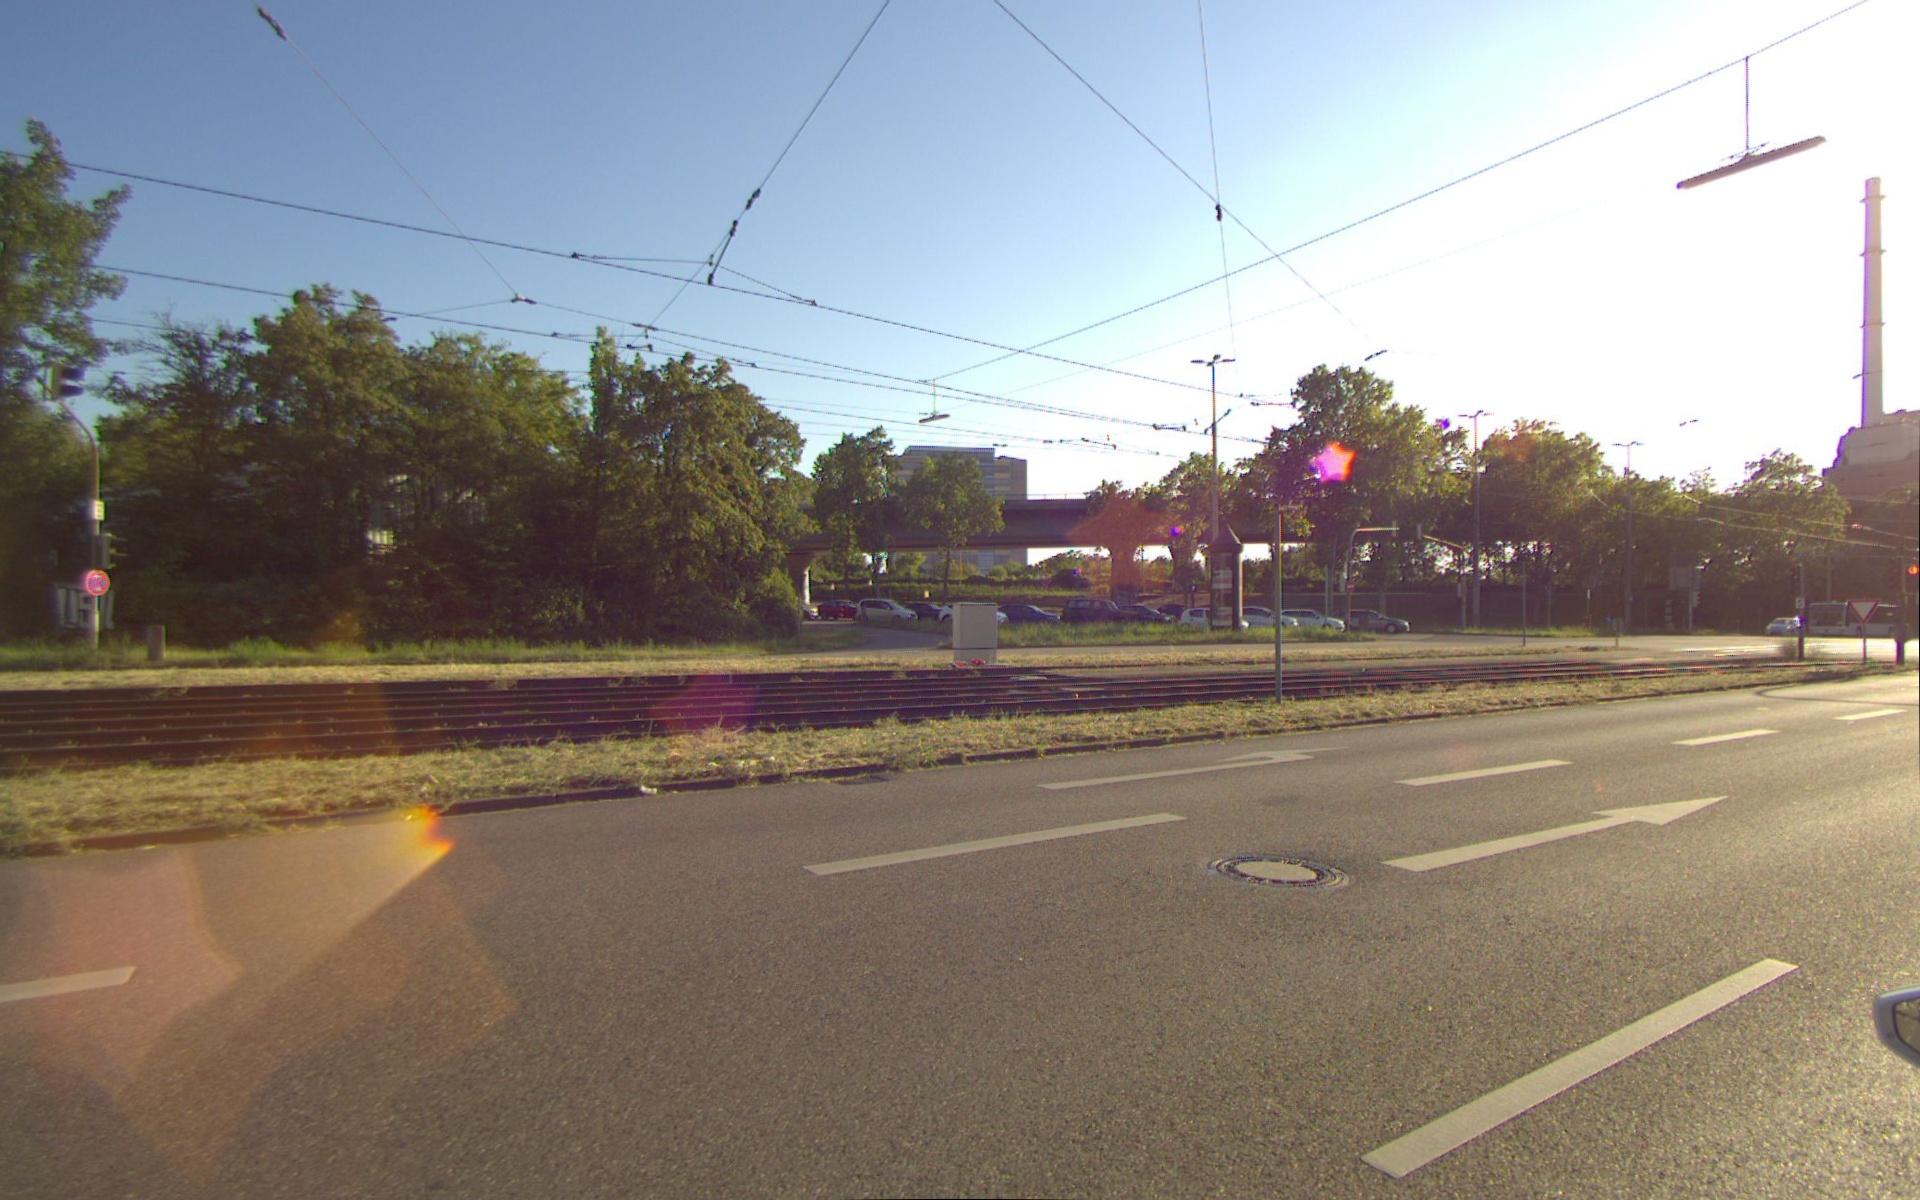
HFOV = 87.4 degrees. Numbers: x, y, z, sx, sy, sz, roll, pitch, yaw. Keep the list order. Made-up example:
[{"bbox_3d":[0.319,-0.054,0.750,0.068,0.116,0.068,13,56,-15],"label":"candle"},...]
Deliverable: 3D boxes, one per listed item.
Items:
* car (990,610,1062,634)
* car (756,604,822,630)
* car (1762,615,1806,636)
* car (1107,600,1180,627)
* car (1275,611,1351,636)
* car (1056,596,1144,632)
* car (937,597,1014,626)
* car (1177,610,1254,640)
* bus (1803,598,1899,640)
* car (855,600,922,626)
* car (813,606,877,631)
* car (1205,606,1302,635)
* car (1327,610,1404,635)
[{"bbox_3d":[4.413,1.453,67.211,4.539,1.478,1.692,1,0,27],"label":"car"},{"bbox_3d":[-12.091,1.193,70.961,4.326,1.701,1.694,1,0,18],"label":"car"},{"bbox_3d":[63.762,1.941,77.712,3.968,1.532,1.596,1,0,-36],"label":"car"},{"bbox_3d":[11.477,0.825,62.990,4.173,1.596,1.690,1,0,30],"label":"car"},{"bbox_3d":[21.497,1.419,61.240,4.121,1.423,1.667,1,0,30],"label":"car"},{"bbox_3d":[8.409,0.831,60.376,4.852,2.017,2.035,1,0,26],"label":"car"},{"bbox_3d":[0.968,0.723,64.612,4.680,1.596,1.691,3,2,29],"label":"car"},{"bbox_3d":[14.593,1.421,57.337,3.929,1.596,1.690,1,0,31],"label":"car"},{"bbox_3d":[76.188,1.680,85.747,12.772,3.171,2.530,2,-1,-31],"label":"bus"},{"bbox_3d":[-4.804,0.865,67.414,4.207,1.653,1.692,1,0,27],"label":"car"},{"bbox_3d":[-8.360,1.337,73.047,4.329,1.701,1.693,1,0,23],"label":"car"},{"bbox_3d":[17.352,1.171,59.527,5.276,1.596,1.736,1,0,34],"label":"car"},{"bbox_3d":[25.467,1.396,63.125,4.362,1.423,1.669,1,0,27],"label":"car"}]
